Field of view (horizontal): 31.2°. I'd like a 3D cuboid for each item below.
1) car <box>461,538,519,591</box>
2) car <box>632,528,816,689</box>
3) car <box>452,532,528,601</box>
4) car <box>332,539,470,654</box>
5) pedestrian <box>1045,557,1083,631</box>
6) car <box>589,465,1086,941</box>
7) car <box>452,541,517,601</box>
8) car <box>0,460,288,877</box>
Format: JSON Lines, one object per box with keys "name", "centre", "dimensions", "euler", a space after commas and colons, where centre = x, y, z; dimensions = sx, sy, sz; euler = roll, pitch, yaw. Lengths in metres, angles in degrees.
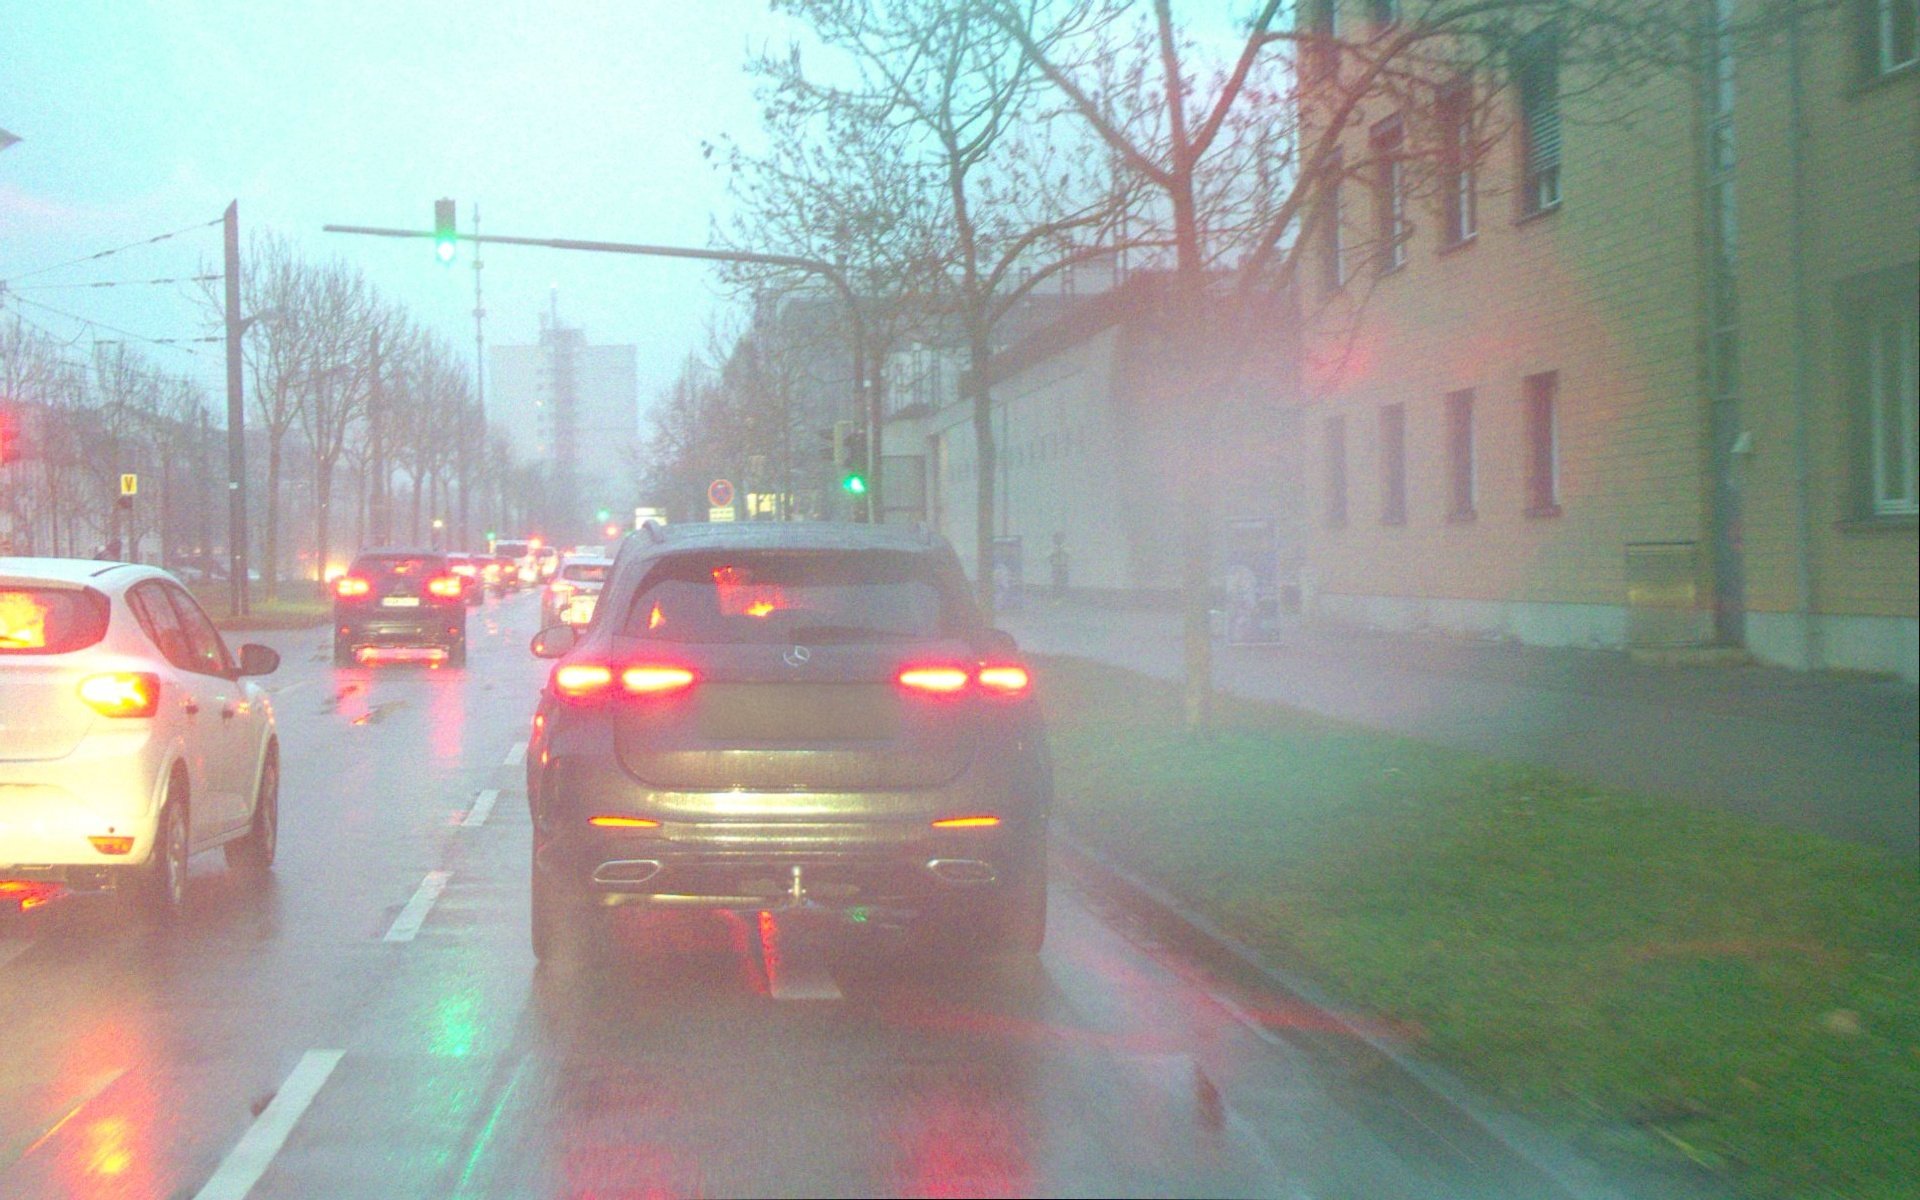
{"name": "car", "centre": [-18.633, -1.419, 136.538], "dimensions": [1.993, 2.007, 4.001], "euler": [-1, 1, -4]}
{"name": "car", "centre": [-2.769, 0.067, 39.890], "dimensions": [1.993, 1.738, 4.001], "euler": [-1, 1, -5]}
{"name": "car", "centre": [-14.222, -0.999, 104.279], "dimensions": [1.993, 2.007, 4.000], "euler": [1, 0, -4]}
{"name": "car", "centre": [-8.058, -0.069, 49.807], "dimensions": [1.671, 1.594, 4.054], "euler": [0, 1, -5]}
{"name": "pedestrian", "centre": [2.290, -0.129, 75.777], "dimensions": [0.621, 1.605, 1.067], "euler": [-1, 1, -9]}
{"name": "car", "centre": [-0.582, 0.328, 13.601], "dimensions": [1.671, 1.594, 4.054], "euler": [0, 1, -5]}
{"name": "car", "centre": [-16.720, -1.004, 120.996], "dimensions": [1.993, 2.007, 4.000], "euler": [1, 0, -4]}
{"name": "car", "centre": [-4.025, 0.242, 15.120], "dimensions": [1.671, 1.594, 4.054], "euler": [0, 1, -5]}
